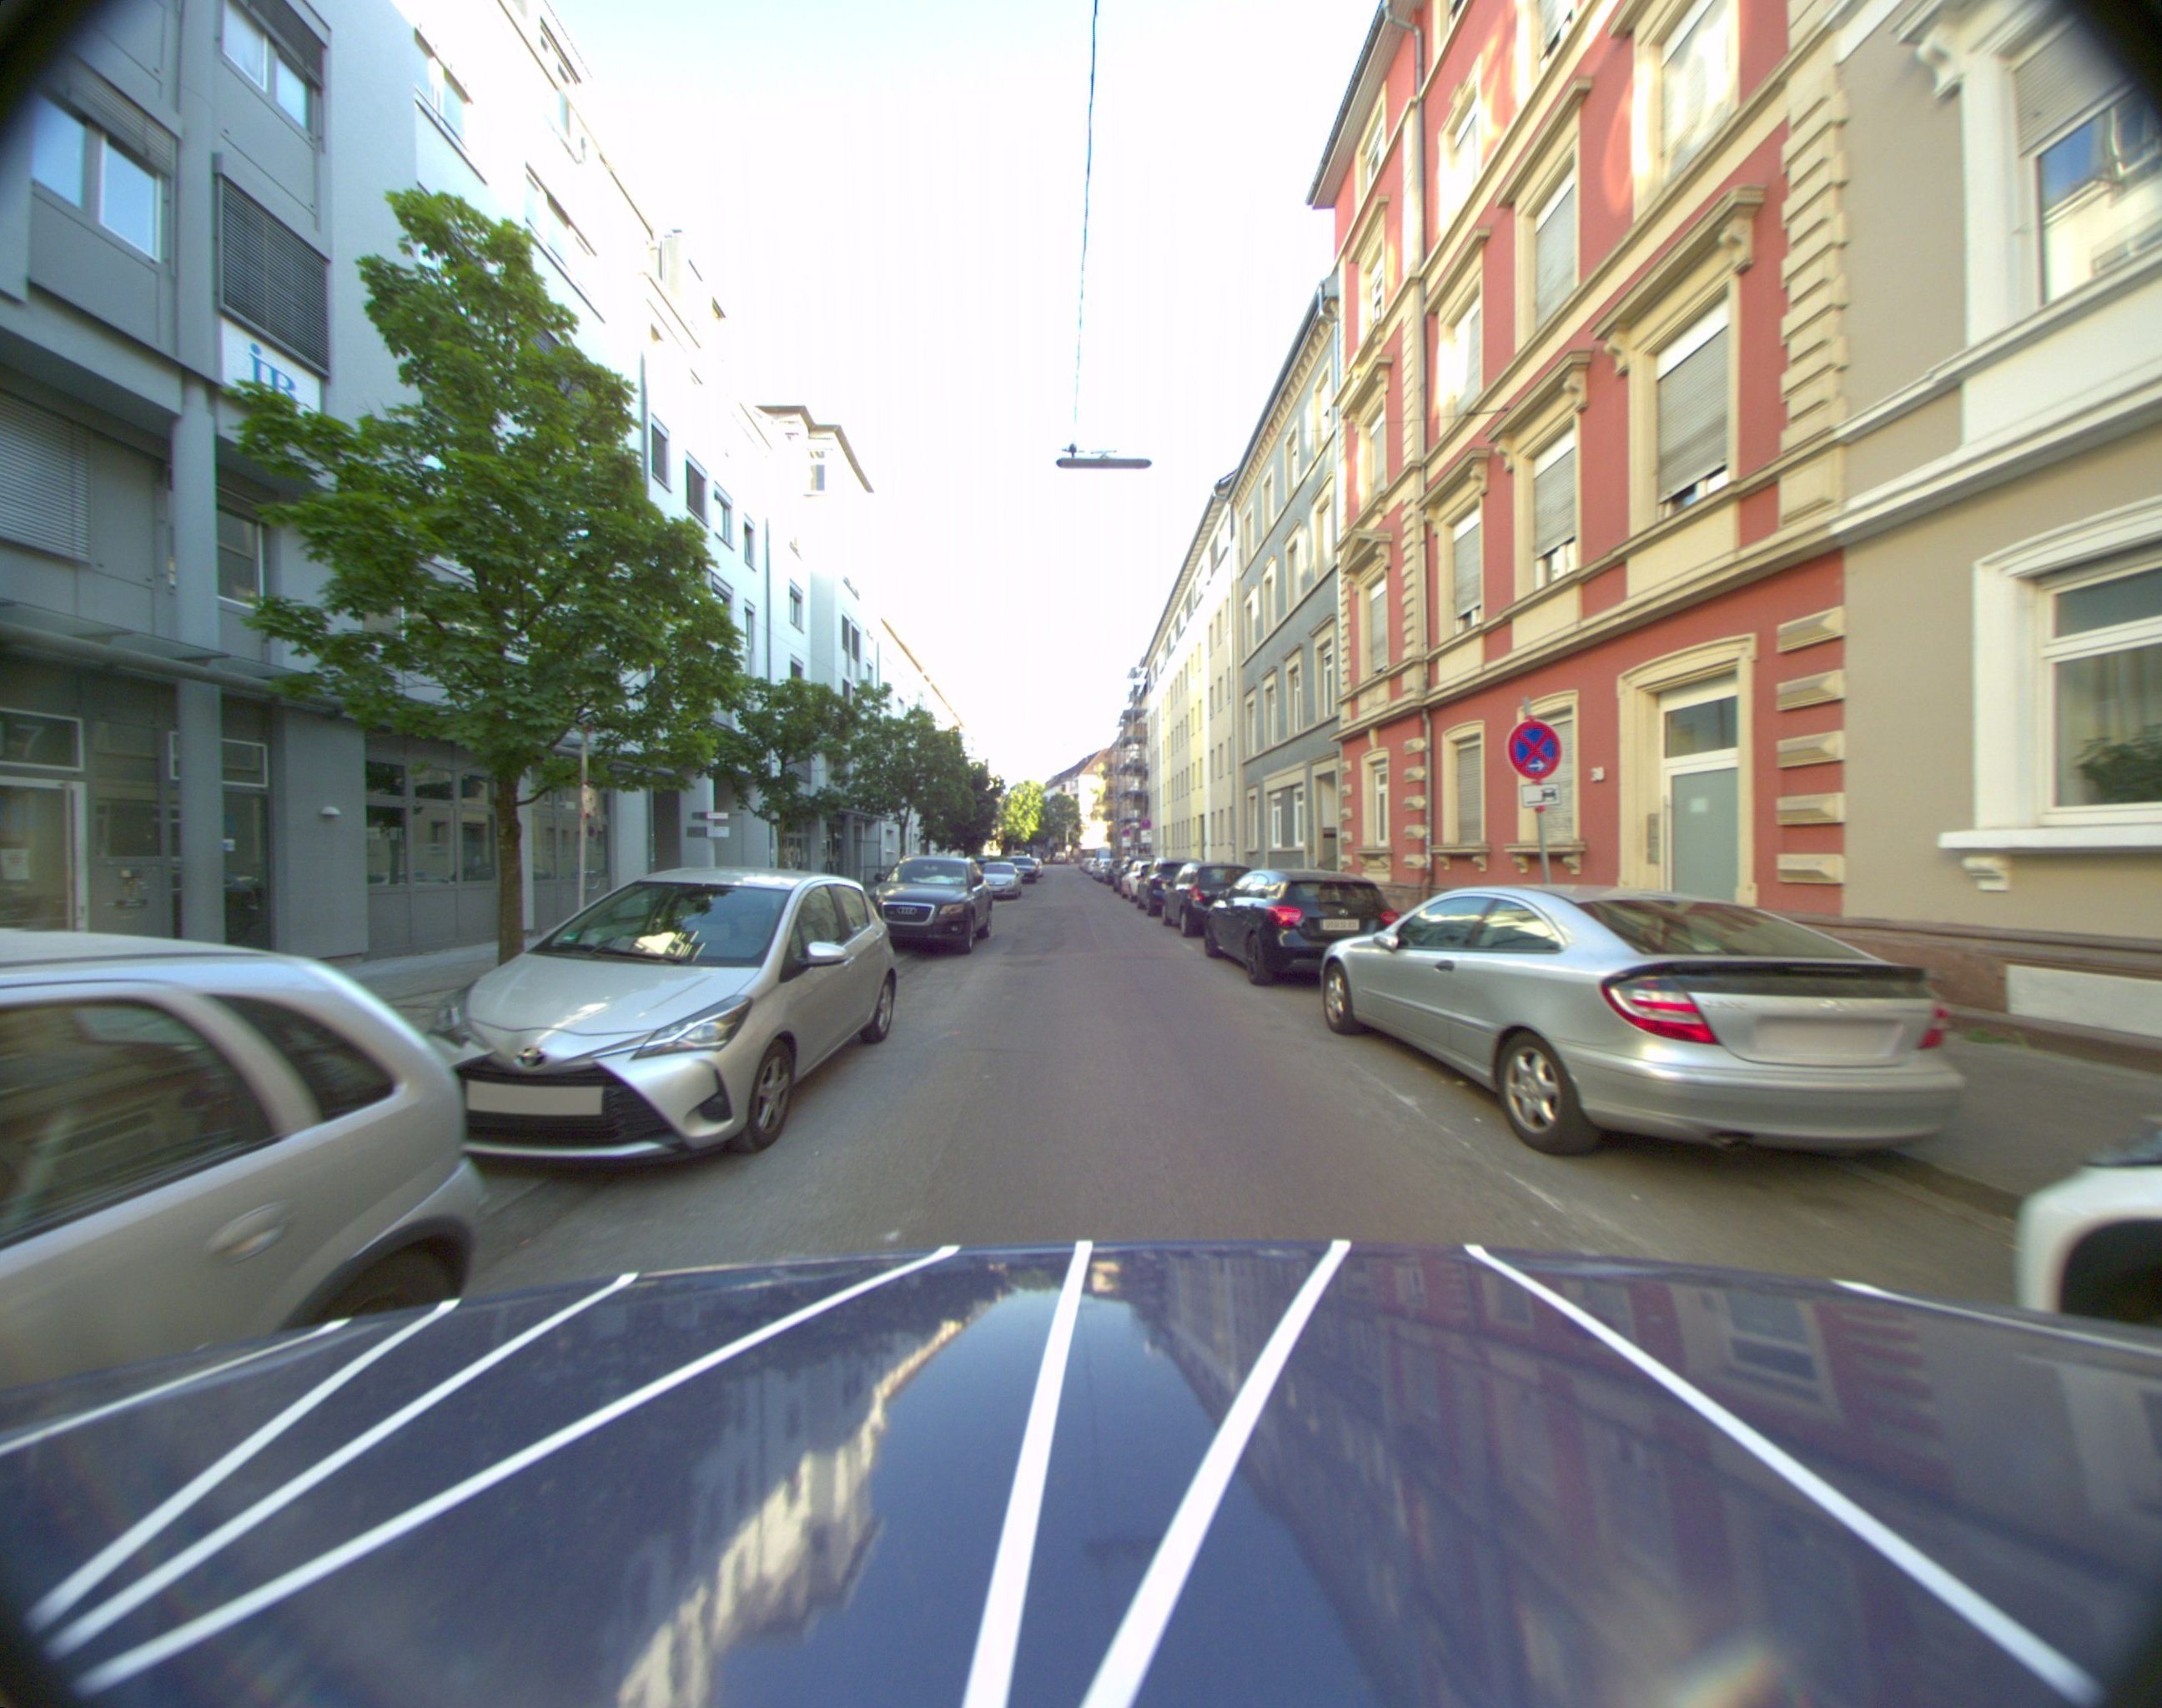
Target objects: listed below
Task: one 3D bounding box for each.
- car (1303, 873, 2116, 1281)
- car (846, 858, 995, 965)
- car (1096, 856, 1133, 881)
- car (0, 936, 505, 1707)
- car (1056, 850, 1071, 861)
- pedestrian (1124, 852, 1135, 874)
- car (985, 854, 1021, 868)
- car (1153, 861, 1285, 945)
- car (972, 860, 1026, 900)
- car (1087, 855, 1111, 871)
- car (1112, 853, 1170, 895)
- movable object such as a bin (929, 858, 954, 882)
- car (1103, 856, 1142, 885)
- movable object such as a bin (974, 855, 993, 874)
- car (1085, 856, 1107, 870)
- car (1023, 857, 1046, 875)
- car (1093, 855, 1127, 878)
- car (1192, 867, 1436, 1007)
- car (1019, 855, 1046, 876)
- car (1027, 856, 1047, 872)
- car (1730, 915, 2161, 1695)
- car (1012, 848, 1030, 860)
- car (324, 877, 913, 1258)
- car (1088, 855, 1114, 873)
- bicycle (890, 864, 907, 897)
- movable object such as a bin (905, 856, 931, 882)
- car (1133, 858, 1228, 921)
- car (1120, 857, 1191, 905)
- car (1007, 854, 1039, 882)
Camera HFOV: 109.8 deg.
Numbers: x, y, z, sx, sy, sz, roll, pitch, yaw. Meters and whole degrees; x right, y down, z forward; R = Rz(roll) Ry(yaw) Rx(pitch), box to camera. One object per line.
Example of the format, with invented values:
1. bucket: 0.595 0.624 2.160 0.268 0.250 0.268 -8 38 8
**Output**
1. car: 3.200 0.973 5.223 1.926 1.551 4.266 1 0 -2
2. car: -2.766 0.911 14.093 1.890 1.613 4.433 1 0 -1
3. car: 2.023 0.863 47.467 1.928 1.479 4.616 1 0 -2
4. car: -2.654 1.003 0.477 1.680 1.467 3.729 1 0 1
5. car: -3.043 0.266 130.170 2.081 1.760 4.214 1 0 -8
6. pedestrian: 3.909 0.739 61.344 0.791 1.750 1.092 1 1 -1
7. car: -8.798 0.793 86.312 3.998 1.556 1.999 1 0 -3
8. car: 2.834 0.958 16.593 1.906 1.551 4.240 1 0 -2
9. car: -3.208 0.984 30.451 1.768 1.420 4.344 1 0 -1
10. car: 1.657 0.869 72.241 1.999 1.439 3.999 1 0 -3
11. car: 2.484 0.811 32.690 1.926 1.654 4.468 1 0 -2
12. movable object such as a bin: -7.982 0.923 43.528 1.265 1.313 1.138 0 0 -2
13. car: 2.283 0.874 42.750 1.783 1.479 4.420 1 0 -2
14. movable object such as a bin: -7.443 0.813 57.985 1.288 1.428 1.223 0 0 -2
15. car: 1.504 0.894 77.555 1.999 1.423 3.999 1 0 -3
16. car: -3.796 0.951 62.795 1.681 1.411 4.135 1 0 -1
17. car: 1.979 0.867 52.969 1.928 1.479 4.616 1 0 -3
18. car: 2.926 0.963 10.619 1.926 1.475 4.266 1 0 -2
19. car: -3.664 0.866 57.846 1.680 1.474 3.652 1 0 1
20. car: -4.005 0.882 68.980 1.681 1.411 4.135 1 0 -2
21. car: 3.161 0.964 0.421 1.925 1.498 4.267 1 0 0
22. car: -10.918 -0.026 138.723 2.163 2.270 6.199 1 0 -15
23. car: -2.467 0.999 5.309 1.680 1.516 3.970 1 0 0
24. car: 1.774 0.840 67.416 1.999 1.496 3.999 1 0 -3
25. bicycle: -6.899 0.983 28.764 0.522 1.161 1.738 1 0 -12
26. movable object such as a bin: -9.282 0.861 43.244 1.265 1.428 1.138 0 0 -2
27. car: 2.674 0.921 21.410 1.926 1.551 4.266 1 0 -2
28. car: 2.580 0.903 27.312 1.926 1.551 4.266 1 0 -2
29. car: -3.550 0.813 47.243 1.876 1.626 4.721 1 0 -3
